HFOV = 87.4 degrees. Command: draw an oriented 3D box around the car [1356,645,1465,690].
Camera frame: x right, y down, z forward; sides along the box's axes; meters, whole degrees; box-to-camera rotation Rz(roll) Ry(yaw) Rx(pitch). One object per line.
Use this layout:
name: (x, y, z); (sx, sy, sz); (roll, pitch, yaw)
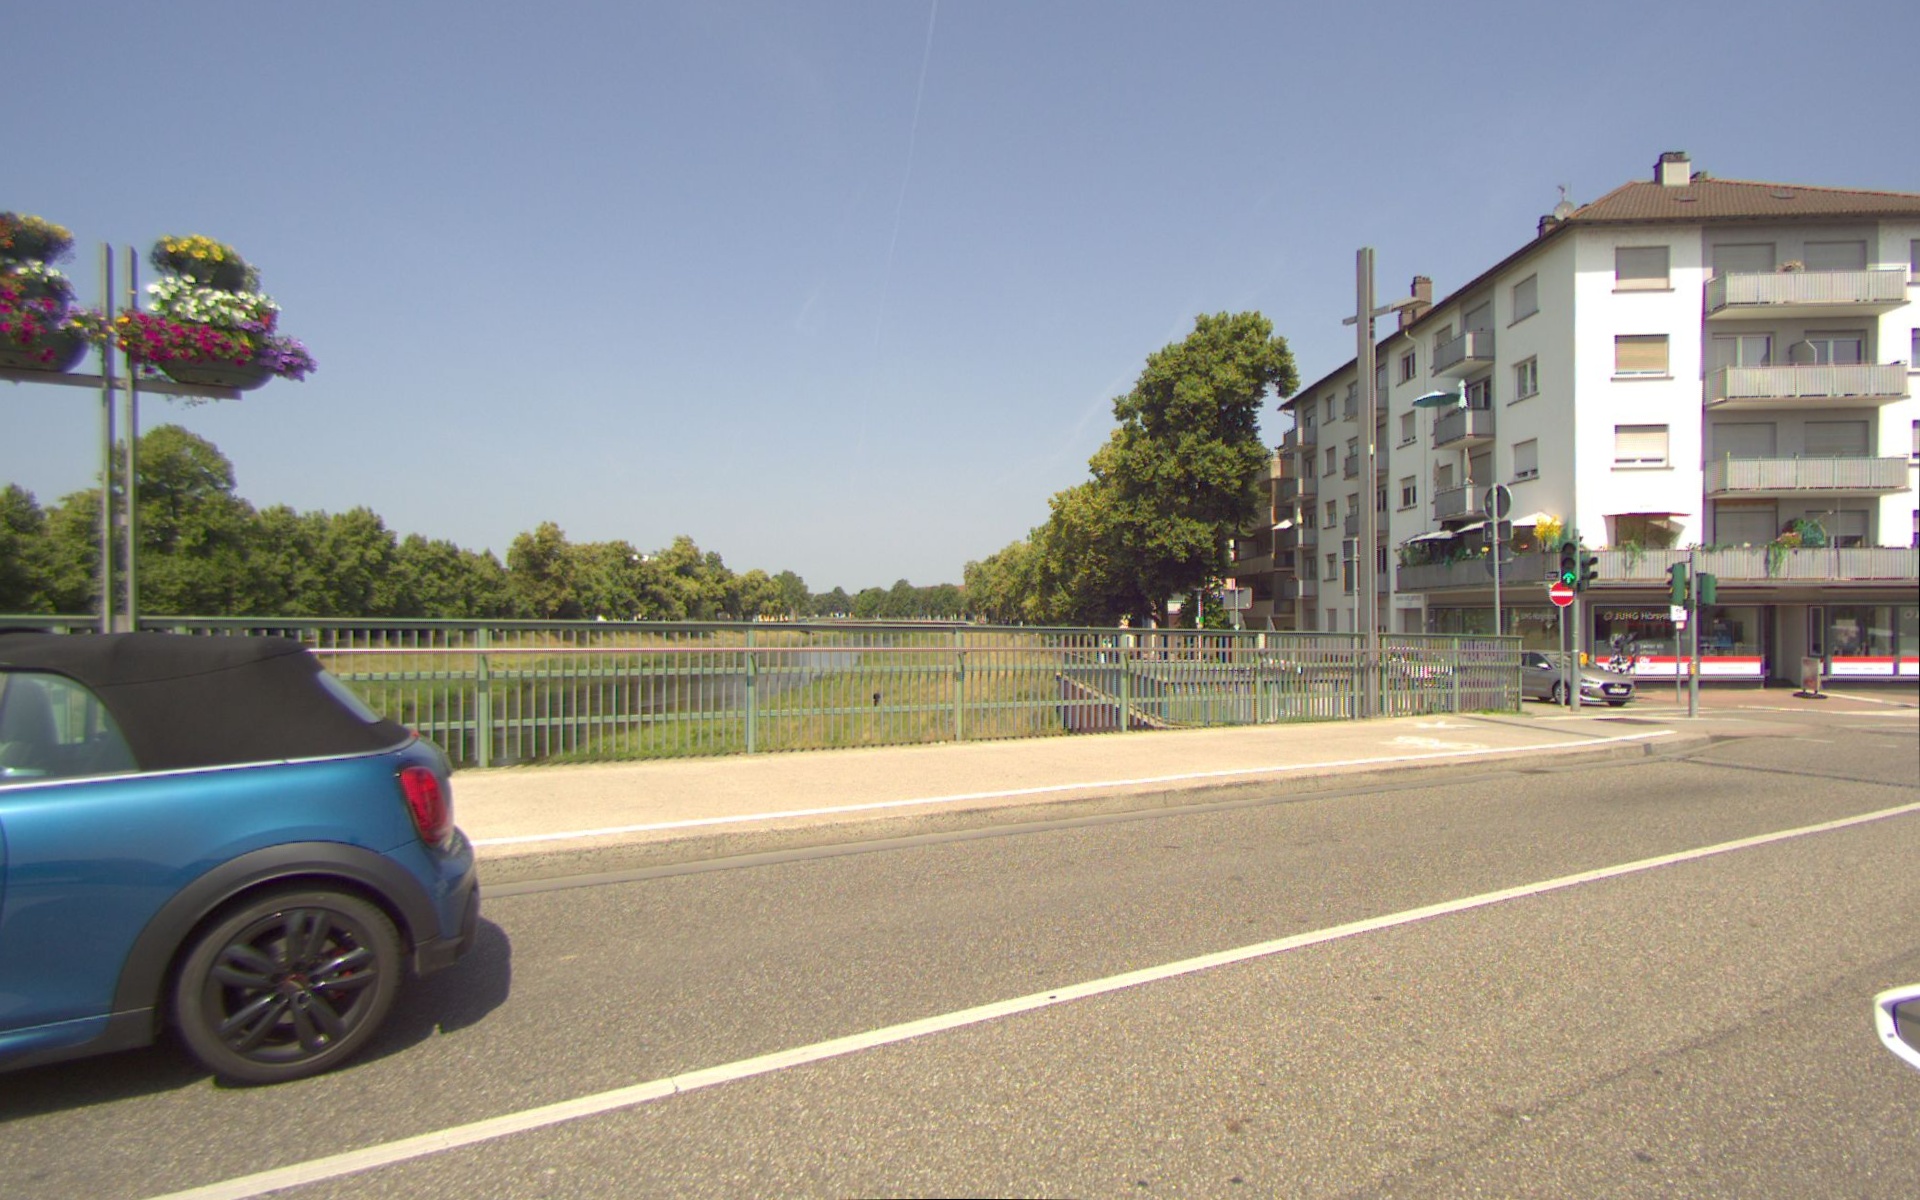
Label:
car: (15.491, 2.287, 34.803); (1.669, 1.438, 4.385); (0, -2, -2)

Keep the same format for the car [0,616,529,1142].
car: (-3.515, 0.800, 3.262); (3.712, 1.459, 1.649); (1, -3, -31)

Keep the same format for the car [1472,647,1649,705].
car: (16.475, 2.038, 27.836); (1.672, 1.438, 4.376); (0, -2, -12)
